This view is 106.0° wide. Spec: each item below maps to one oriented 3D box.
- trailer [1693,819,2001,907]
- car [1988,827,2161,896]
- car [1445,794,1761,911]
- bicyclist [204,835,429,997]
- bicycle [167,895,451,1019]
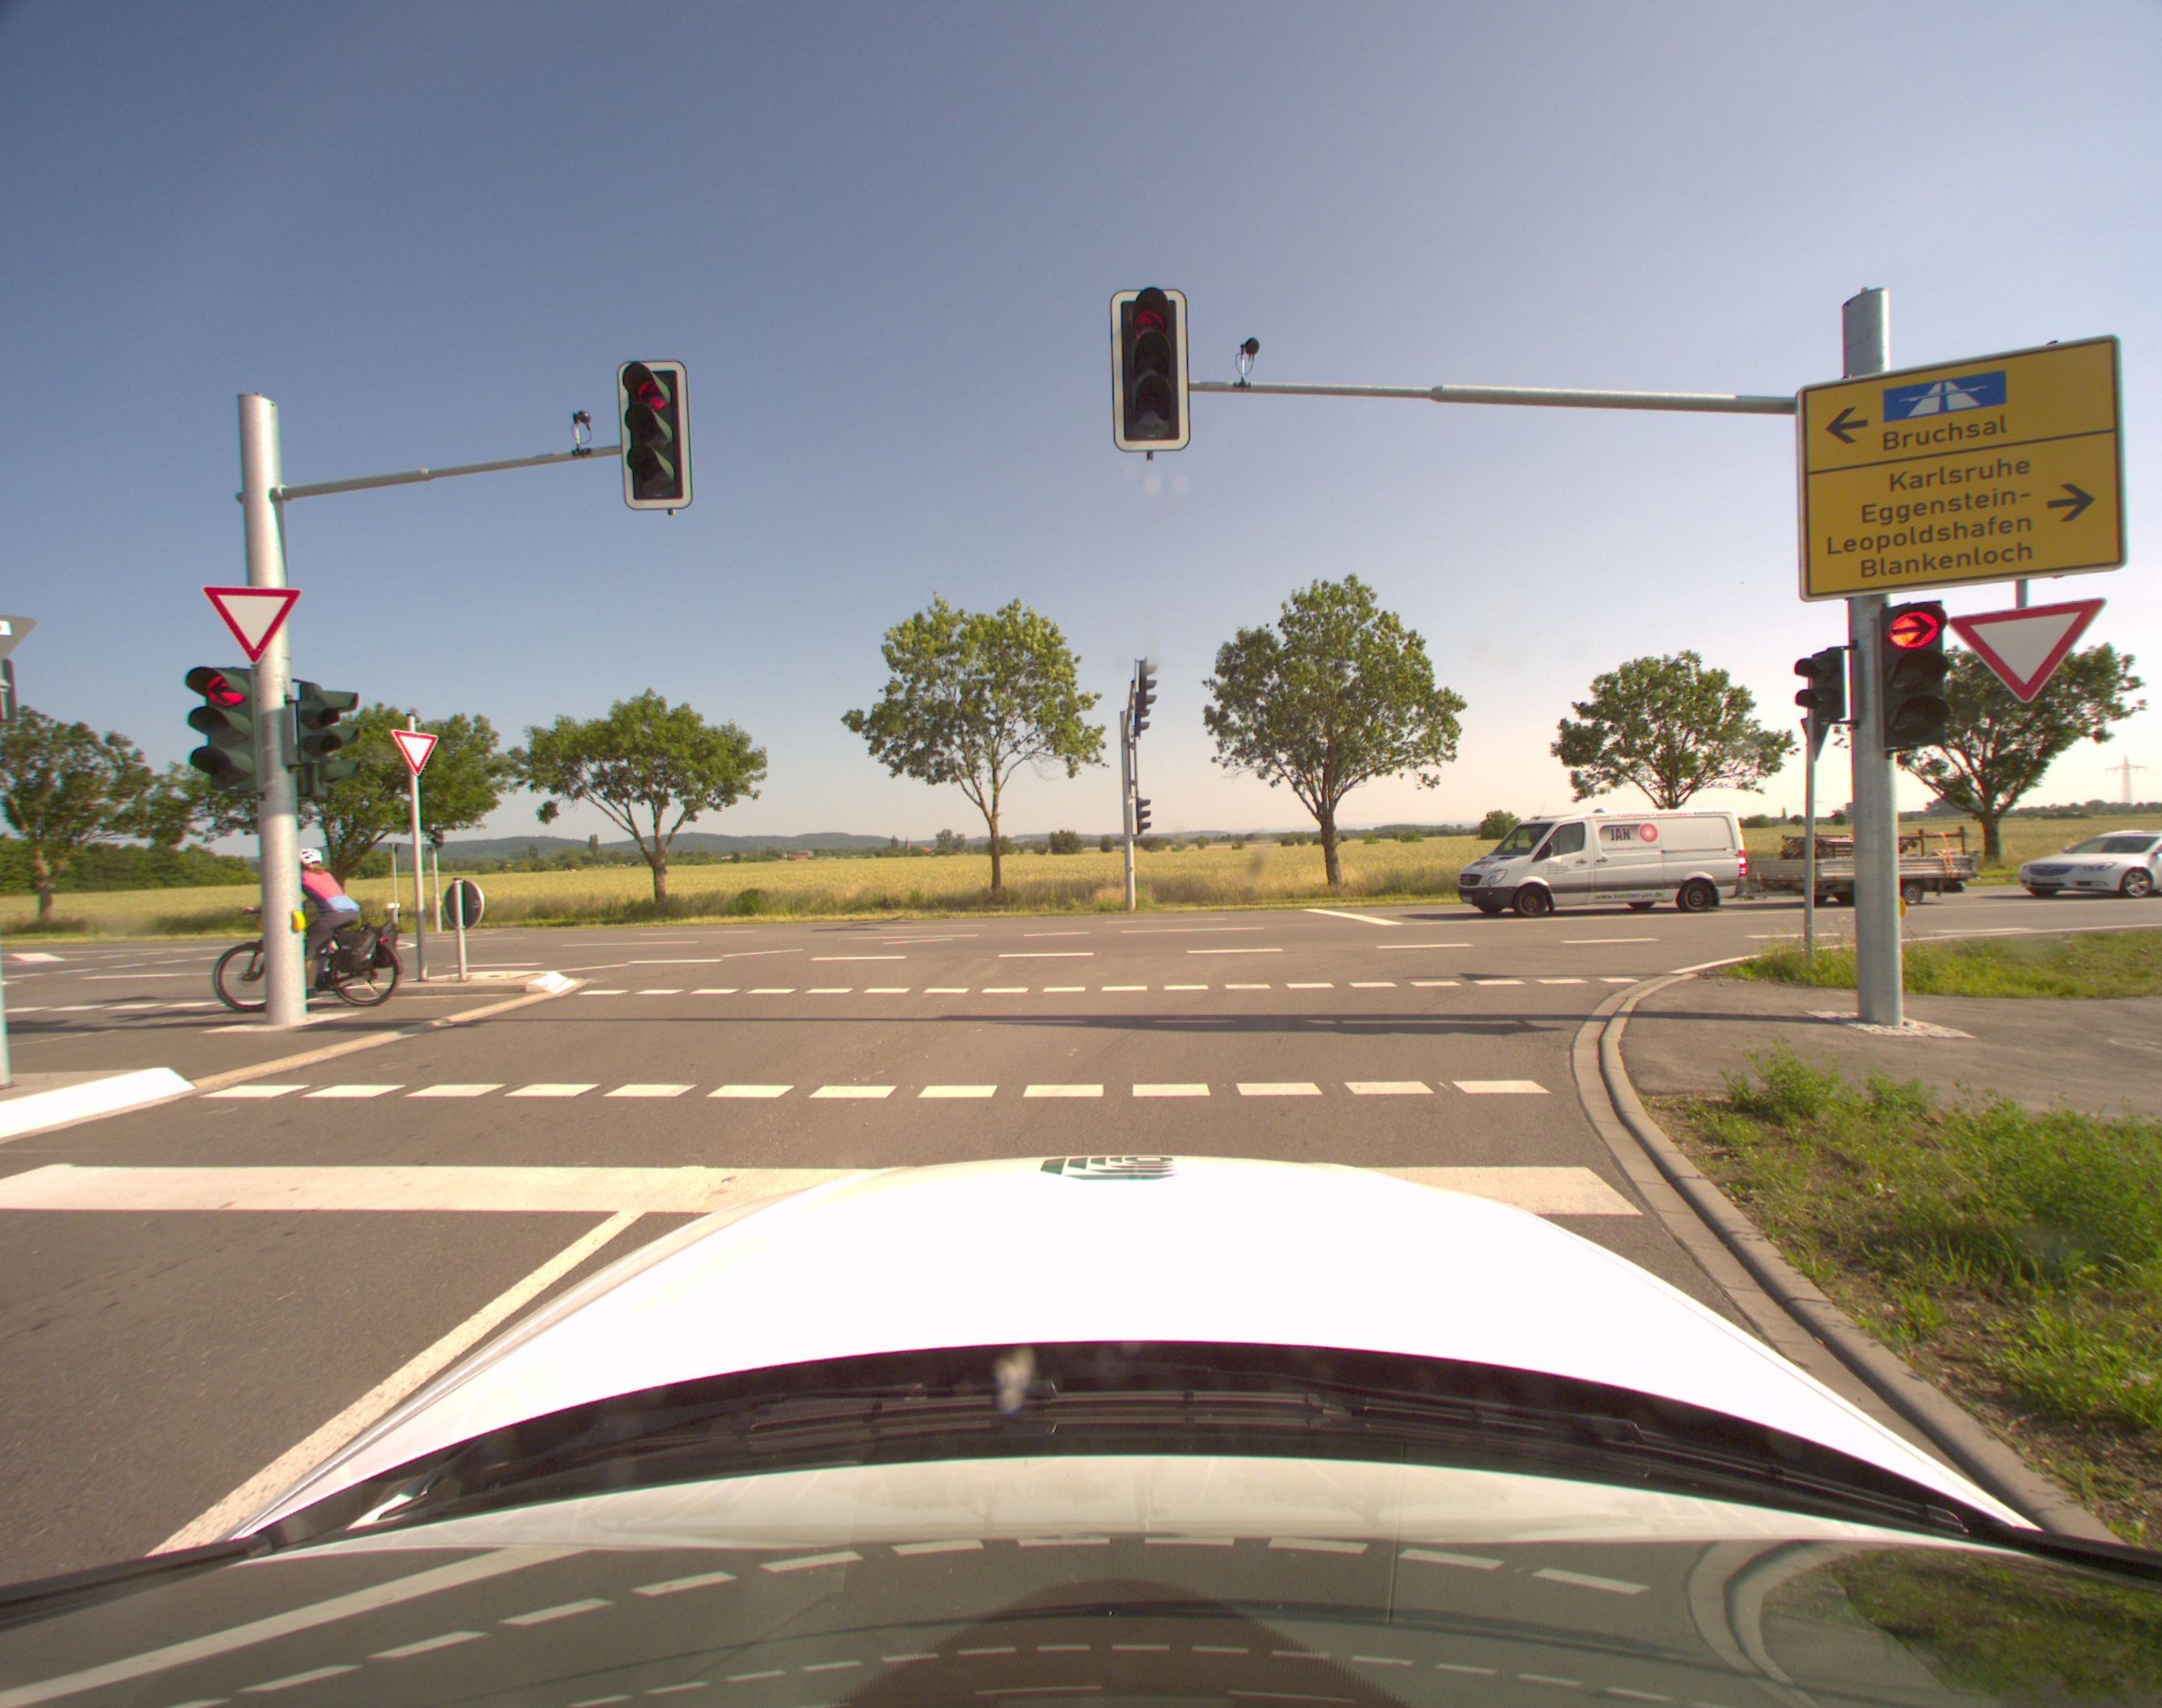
[{"bbox_3d":[17.375,0.199,18.664,5.245,1.753,1.953,-2,-1,-1],"label":"trailer"},{"bbox_3d":[24.657,0.173,19.069,4.858,1.510,1.997,0,-1,-4],"label":"car"},{"bbox_3d":[11.711,-0.026,18.570,5.938,2.493,1.999,0,-1,-1],"label":"car"},{"bbox_3d":[-8.175,0.618,8.805,1.276,1.601,1.164,-1,1,-3],"label":"bicyclist"},{"bbox_3d":[-8.309,1.078,8.859,2.151,1.186,0.889,-1,-1,-4],"label":"bicycle"}]
